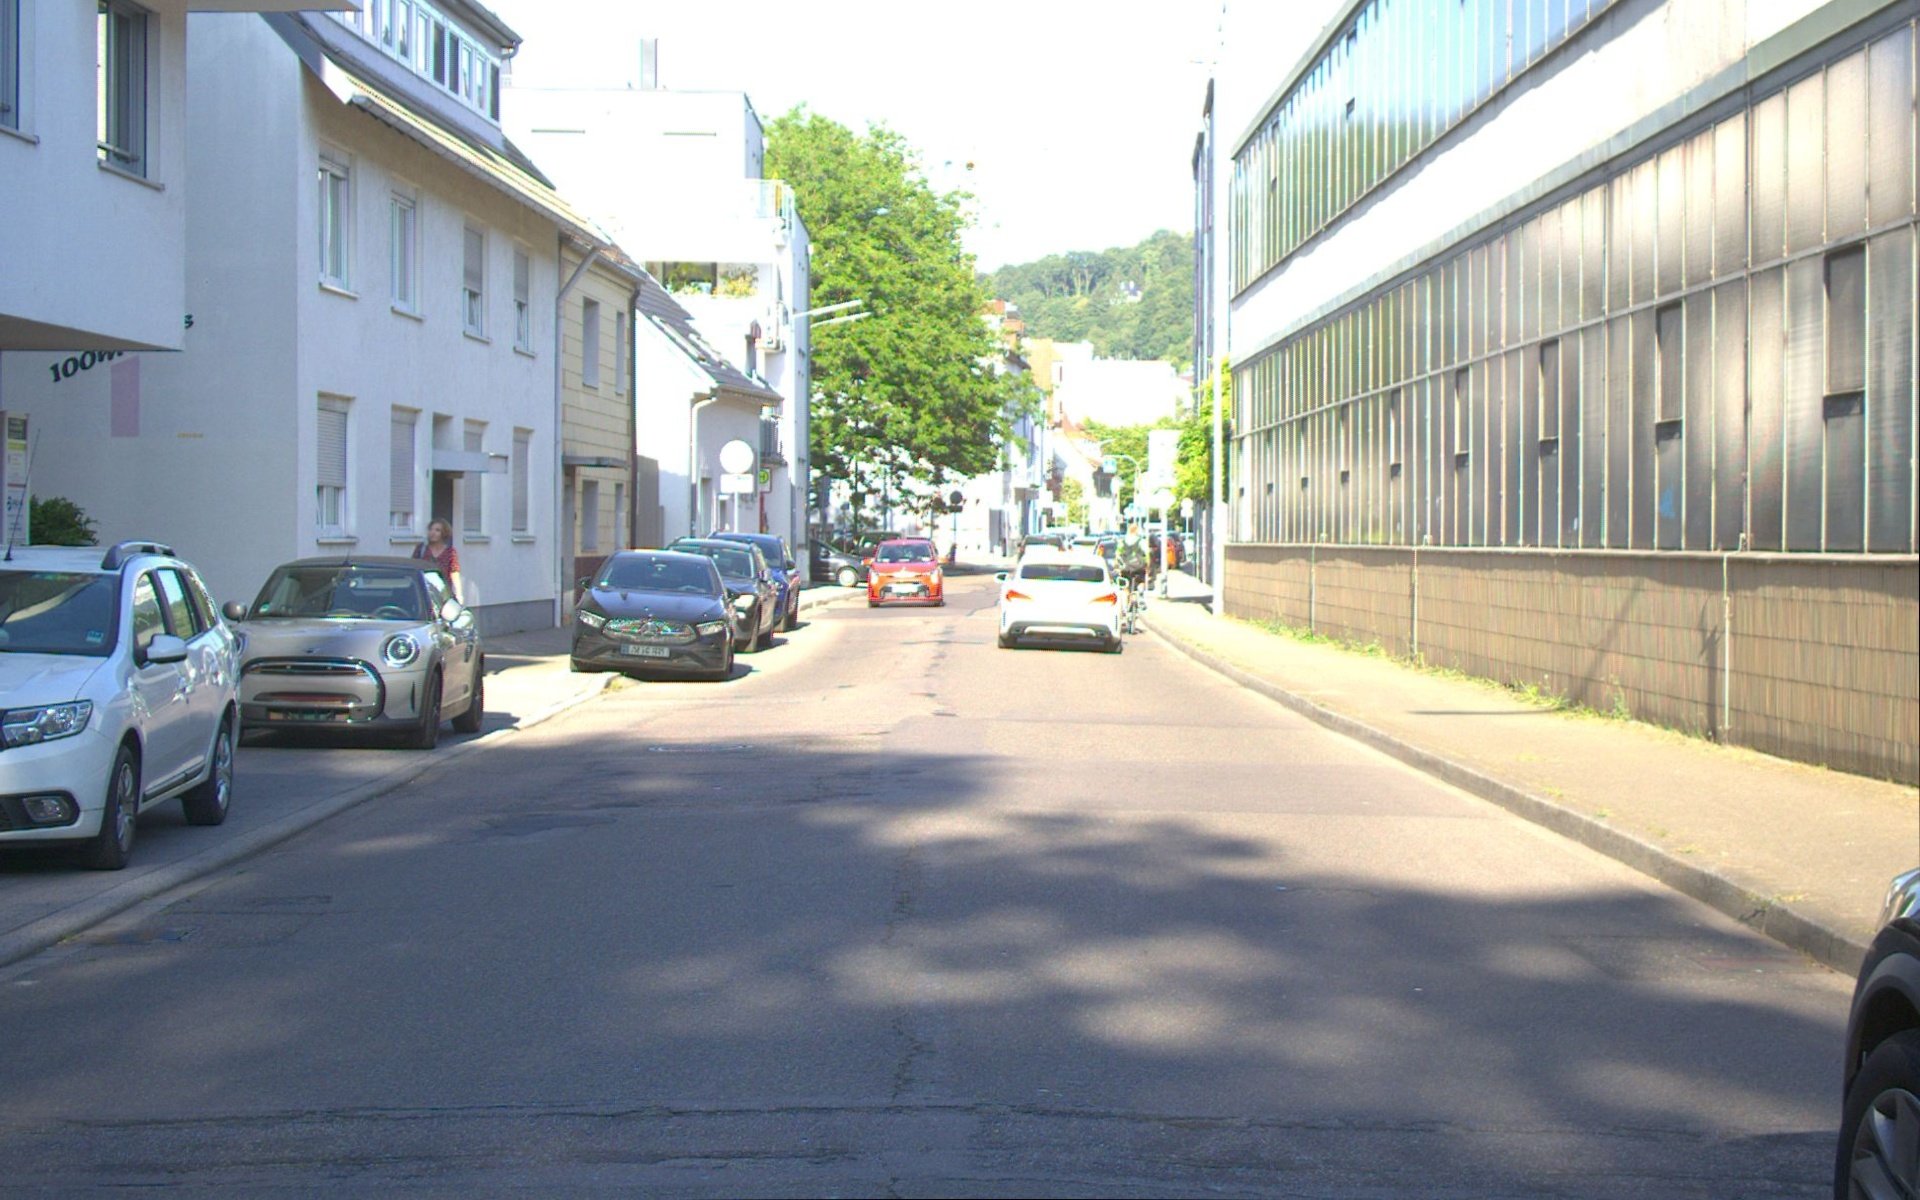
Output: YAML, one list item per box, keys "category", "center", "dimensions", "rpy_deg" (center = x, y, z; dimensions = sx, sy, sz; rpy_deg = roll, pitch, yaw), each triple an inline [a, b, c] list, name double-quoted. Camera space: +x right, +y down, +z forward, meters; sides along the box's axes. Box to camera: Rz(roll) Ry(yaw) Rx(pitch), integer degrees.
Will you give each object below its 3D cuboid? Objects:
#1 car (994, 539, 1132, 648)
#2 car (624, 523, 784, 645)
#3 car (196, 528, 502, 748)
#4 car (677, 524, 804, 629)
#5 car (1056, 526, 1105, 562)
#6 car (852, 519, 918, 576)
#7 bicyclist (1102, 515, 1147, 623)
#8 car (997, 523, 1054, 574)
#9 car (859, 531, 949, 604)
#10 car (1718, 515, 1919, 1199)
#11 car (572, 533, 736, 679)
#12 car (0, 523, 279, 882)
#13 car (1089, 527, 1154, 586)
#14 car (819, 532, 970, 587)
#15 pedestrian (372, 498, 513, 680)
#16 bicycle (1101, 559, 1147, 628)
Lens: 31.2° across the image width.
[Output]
- category: "car"
  center: [1.469, -0.115, 50.336]
  dimensions: [1.842, 1.486, 4.144]
  rpy_deg: [2, 1, 0]
- category: "car"
  center: [-3.713, -0.277, 50.515]
  dimensions: [1.858, 1.581, 4.336]
  rpy_deg: [3, 2, 1]
- category: "car"
  center: [-4.721, 0.254, 27.049]
  dimensions: [1.667, 1.530, 3.857]
  rpy_deg: [3, 1, 0]
- category: "car"
  center: [-3.729, -0.435, 58.922]
  dimensions: [1.809, 1.581, 4.193]
  rpy_deg: [3, 2, 0]
- category: "car"
  center: [5.184, -2.385, 147.534]
  dimensions: [1.842, 1.486, 4.143]
  rpy_deg: [2, 1, 5]
- category: "car"
  center: [-2.472, -1.750, 114.045]
  dimensions: [1.853, 1.785, 4.607]
  rpy_deg: [2, 1, 2]
- category: "bicyclist"
  center: [2.775, -0.526, 58.119]
  dimensions: [0.698, 1.784, 1.040]
  rpy_deg: [2, 0, 2]
- category: "car"
  center: [2.390, -1.913, 126.610]
  dimensions: [1.853, 1.785, 4.608]
  rpy_deg: [1, 1, -1]
- category: "car"
  center: [-1.195, -0.716, 75.057]
  dimensions: [1.842, 1.486, 4.144]
  rpy_deg: [2, 1, 0]
- category: "car"
  center: [2.580, 0.696, 4.996]
  dimensions: [1.807, 1.581, 4.405]
  rpy_deg: [3, 1, -2]
- category: "car"
  center: [-3.513, 0.040, 40.097]
  dimensions: [1.684, 1.530, 4.335]
  rpy_deg: [3, 1, -3]
- category: "car"
  center: [-4.836, 0.405, 17.724]
  dimensions: [1.857, 1.581, 4.622]
  rpy_deg: [3, 1, -3]
- category: "car"
  center: [4.515, -1.218, 96.731]
  dimensions: [1.629, 1.581, 4.069]
  rpy_deg: [-2, 1, 0]
- category: "car"
  center: [-1.899, -1.174, 100.370]
  dimensions: [4.132, 1.486, 1.848]
  rpy_deg: [2, 1, 8]
- category: "pedestrian"
  center: [-5.420, -0.116, 36.034]
  dimensions: [0.862, 1.812, 1.130]
  rpy_deg: [5, 2, 24]
- category: "bicycle"
  center: [2.767, -0.115, 58.171]
  dimensions: [0.698, 1.126, 2.403]
  rpy_deg: [2, 1, 2]
